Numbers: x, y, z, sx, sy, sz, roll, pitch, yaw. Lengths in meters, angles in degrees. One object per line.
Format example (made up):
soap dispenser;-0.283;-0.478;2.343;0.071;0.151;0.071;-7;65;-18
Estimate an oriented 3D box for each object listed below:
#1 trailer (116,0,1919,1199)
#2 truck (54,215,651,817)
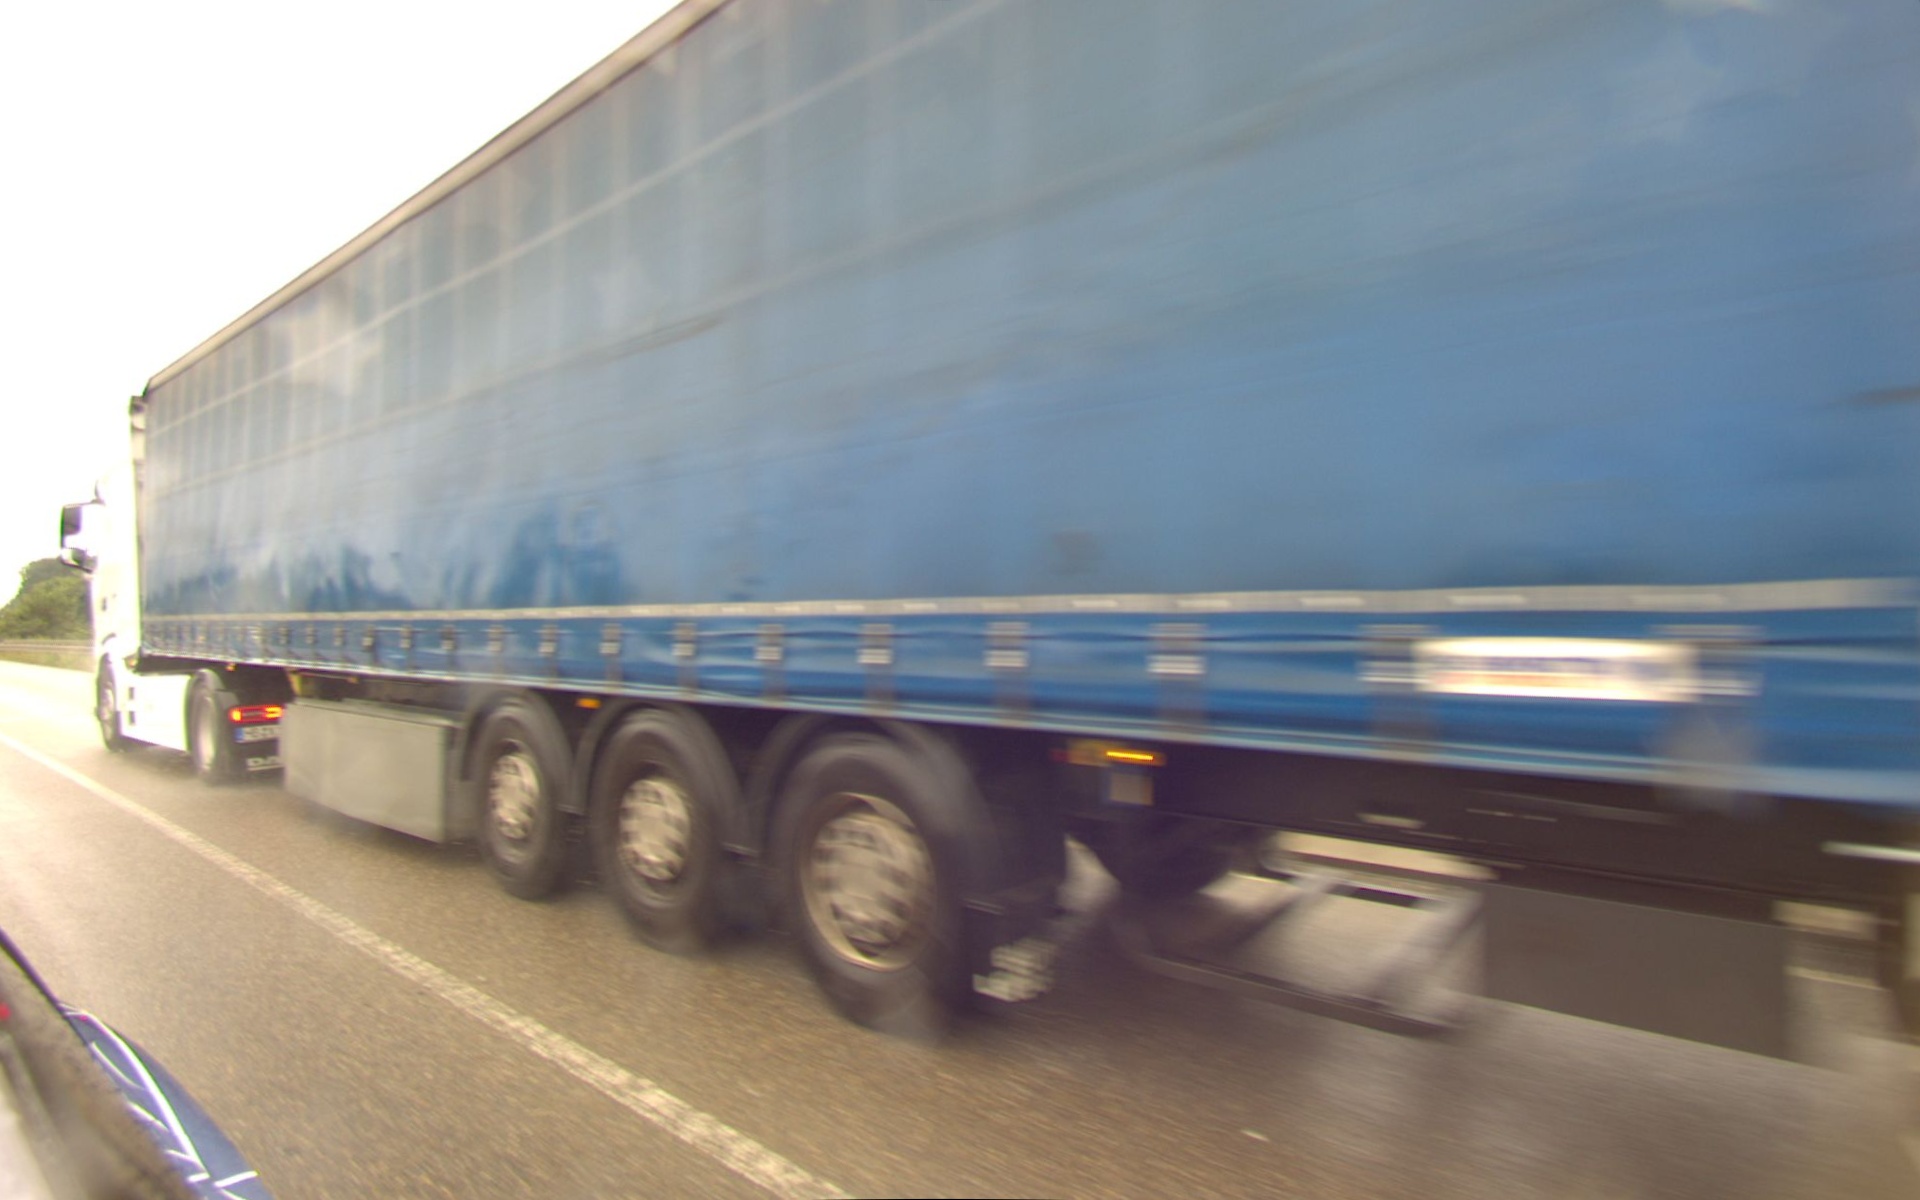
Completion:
trailer;-2.339;-0.579;6.693;13.727;4.000;2.789;-1;-1;41
truck;-6.931;-0.501;10.657;8.758;4.000;2.789;-1;-1;41
